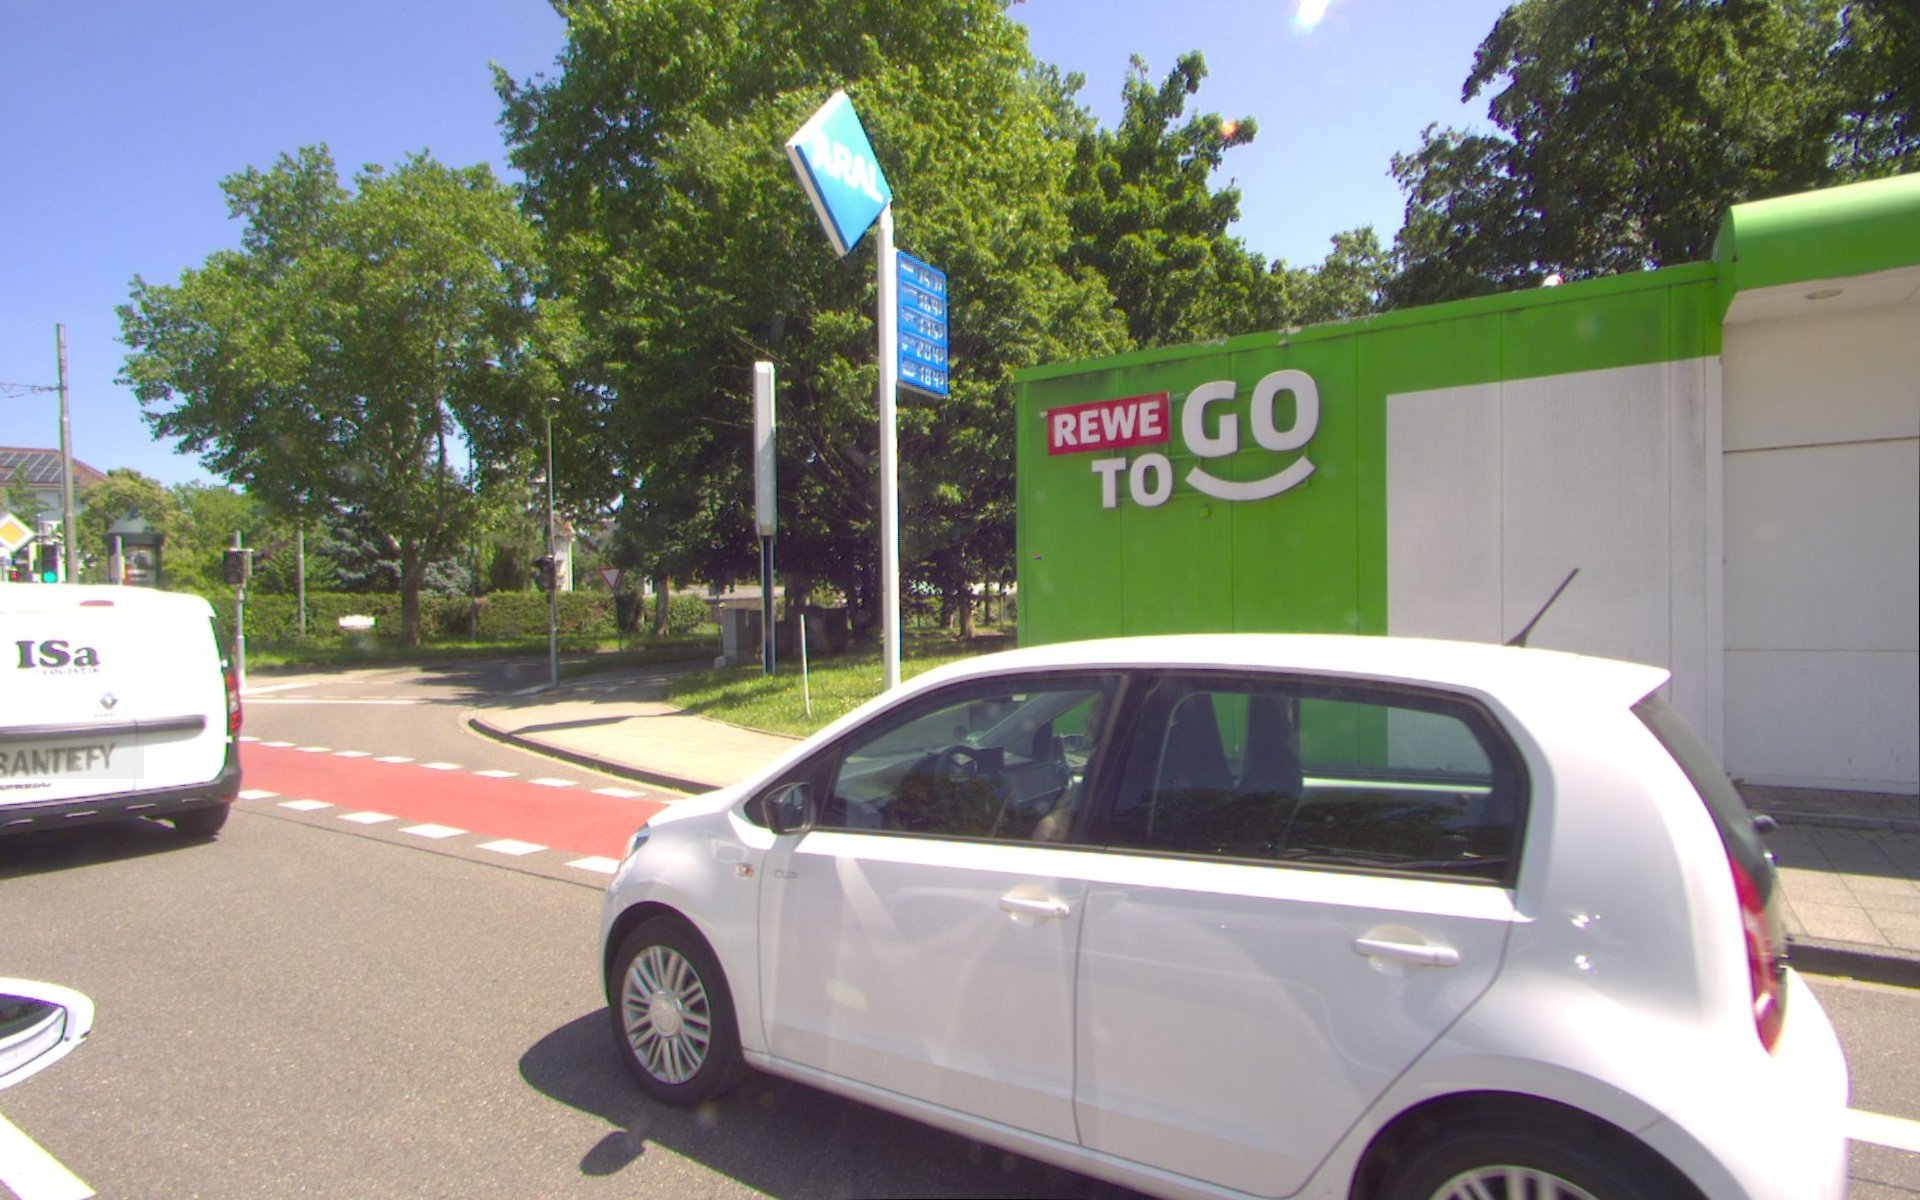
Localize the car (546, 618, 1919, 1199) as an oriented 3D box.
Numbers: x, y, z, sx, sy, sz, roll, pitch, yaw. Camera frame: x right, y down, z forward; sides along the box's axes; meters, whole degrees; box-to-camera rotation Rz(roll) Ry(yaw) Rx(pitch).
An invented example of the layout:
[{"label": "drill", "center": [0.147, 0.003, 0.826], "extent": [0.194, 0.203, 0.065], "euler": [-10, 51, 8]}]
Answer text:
[{"label": "car", "center": [0.472, 0.808, 3.101], "extent": [3.387, 1.466, 1.606], "euler": [0, -1, 33]}]

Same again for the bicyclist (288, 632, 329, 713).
[{"label": "bicyclist", "center": [-14.893, 1.649, 22.906], "extent": [0.759, 1.810, 0.574], "euler": [-1, -2, 40]}]

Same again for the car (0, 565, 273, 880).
[{"label": "car", "center": [-6.945, 0.754, 7.293], "extent": [4.005, 1.811, 1.725], "euler": [-1, -2, 31]}]
